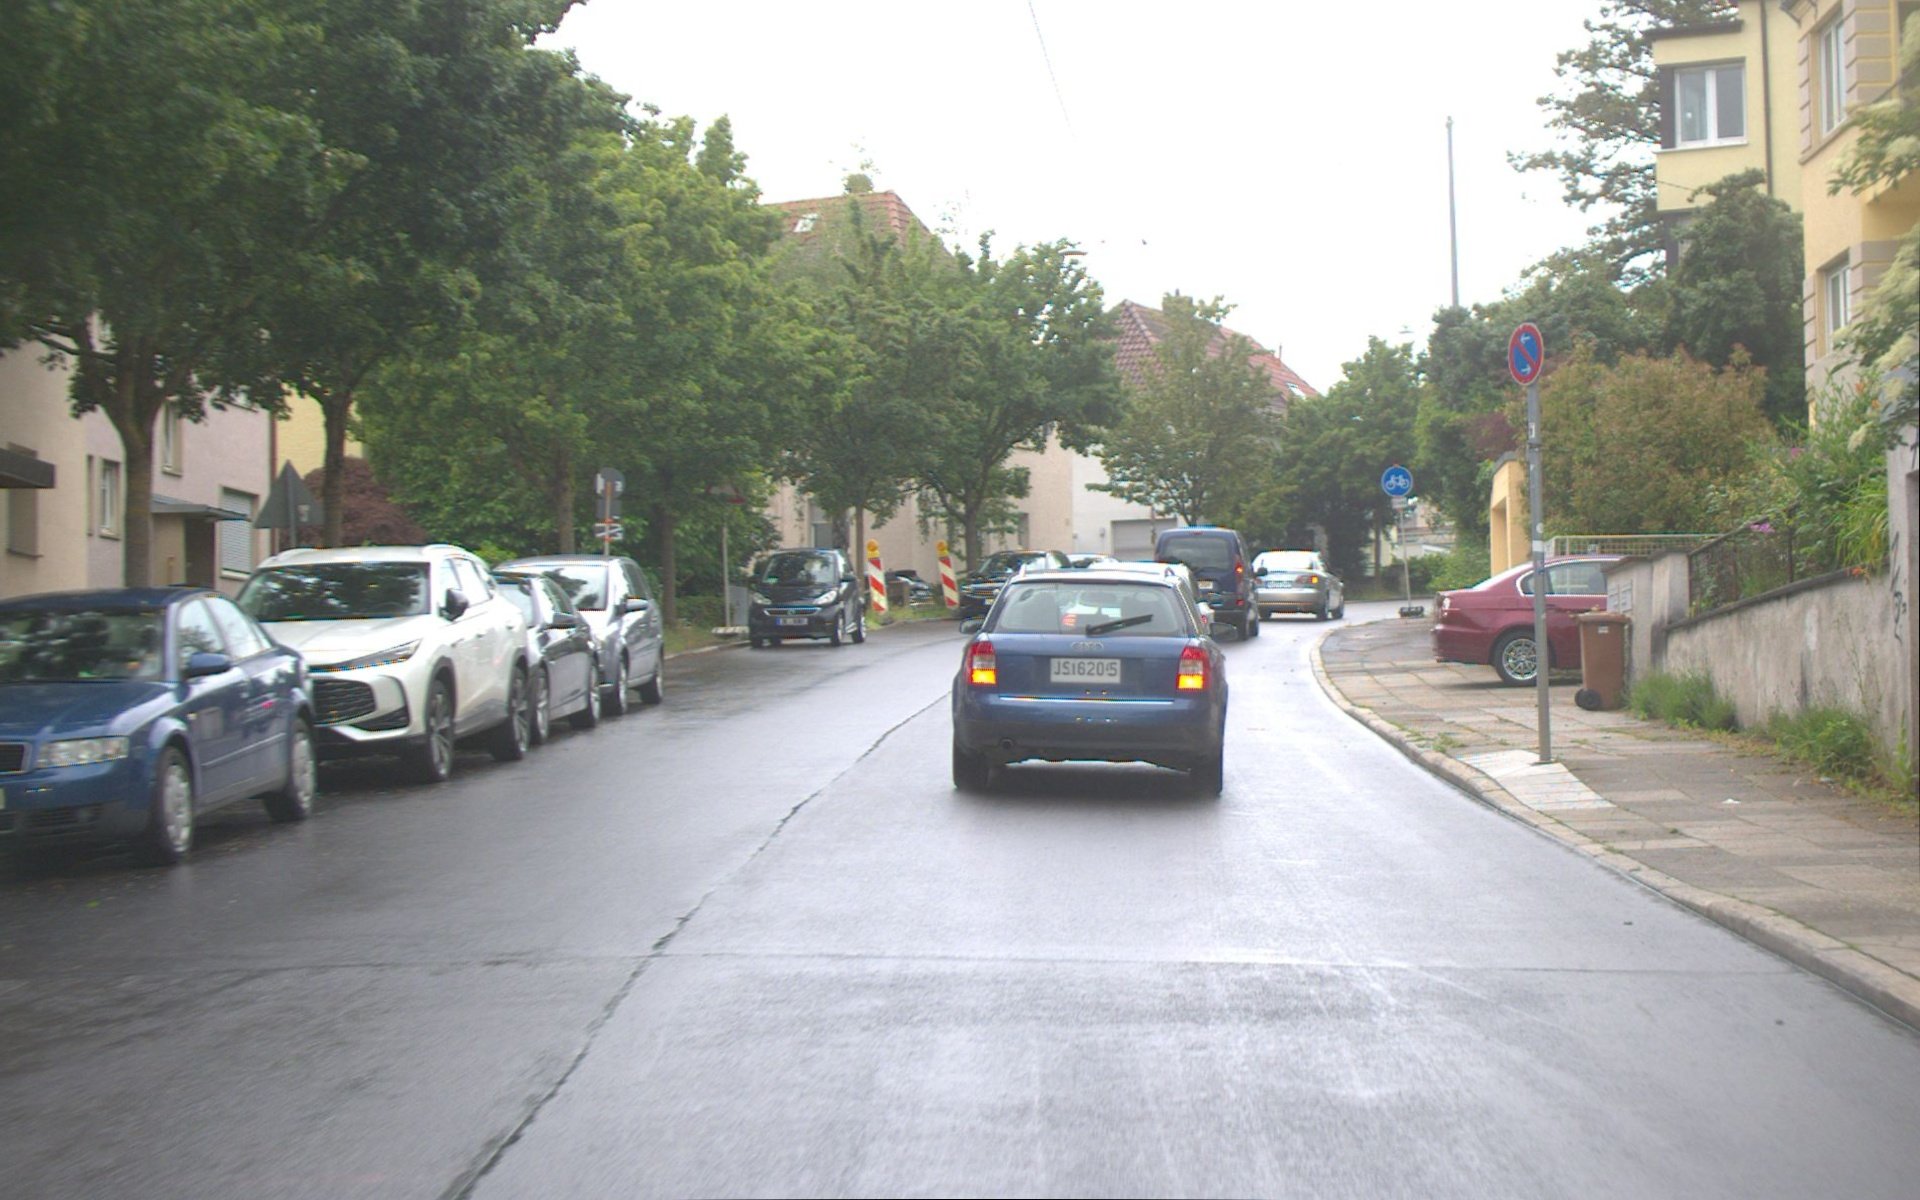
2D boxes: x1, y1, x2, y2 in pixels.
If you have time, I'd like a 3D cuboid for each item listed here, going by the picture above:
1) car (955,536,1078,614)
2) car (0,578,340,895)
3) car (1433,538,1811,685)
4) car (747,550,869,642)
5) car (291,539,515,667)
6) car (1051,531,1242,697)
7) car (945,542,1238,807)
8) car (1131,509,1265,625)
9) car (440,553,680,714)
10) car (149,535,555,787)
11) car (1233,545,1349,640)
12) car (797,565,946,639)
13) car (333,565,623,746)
[{"bbox_3d":[1.209,-0.551,71.719,1.734,1.461,3.998,3,2,12],"label":"car"},{"bbox_3d":[-4.809,0.657,18.805,1.768,1.382,4.634,-2,2,3],"label":"car"},{"bbox_3d":[7.301,0.120,38.220,3.988,1.461,1.739,-2,2,8],"label":"car"},{"bbox_3d":[-2.407,-0.083,55.146,1.475,1.291,3.220,2,2,5],"label":"car"},{"bbox_3d":[-9.176,0.039,56.770,3.210,1.734,1.479,-6,2,5],"label":"car"},{"bbox_3d":[2.182,0.107,39.247,1.976,1.629,4.235,2,2,5],"label":"car"},{"bbox_3d":[0.905,0.418,22.931,1.733,1.461,4.000,2,2,3],"label":"car"},{"bbox_3d":[4.008,-0.583,57.323,1.734,1.762,4.233,3,2,10],"label":"car"},{"bbox_3d":[-4.092,0.324,35.713,1.768,1.534,4.007,-1,0,3],"label":"car"},{"bbox_3d":[-4.305,0.395,25.094,1.768,1.621,4.689,-1,0,4],"label":"car"},{"bbox_3d":[6.876,-0.177,71.168,1.734,1.762,4.233,3,2,14],"label":"car"},{"bbox_3d":[-2.188,0.048,84.752,3.213,1.367,1.478,-7,2,20],"label":"car"},{"bbox_3d":[-4.196,0.452,30.513,1.768,1.468,4.007,-1,0,3],"label":"car"}]
